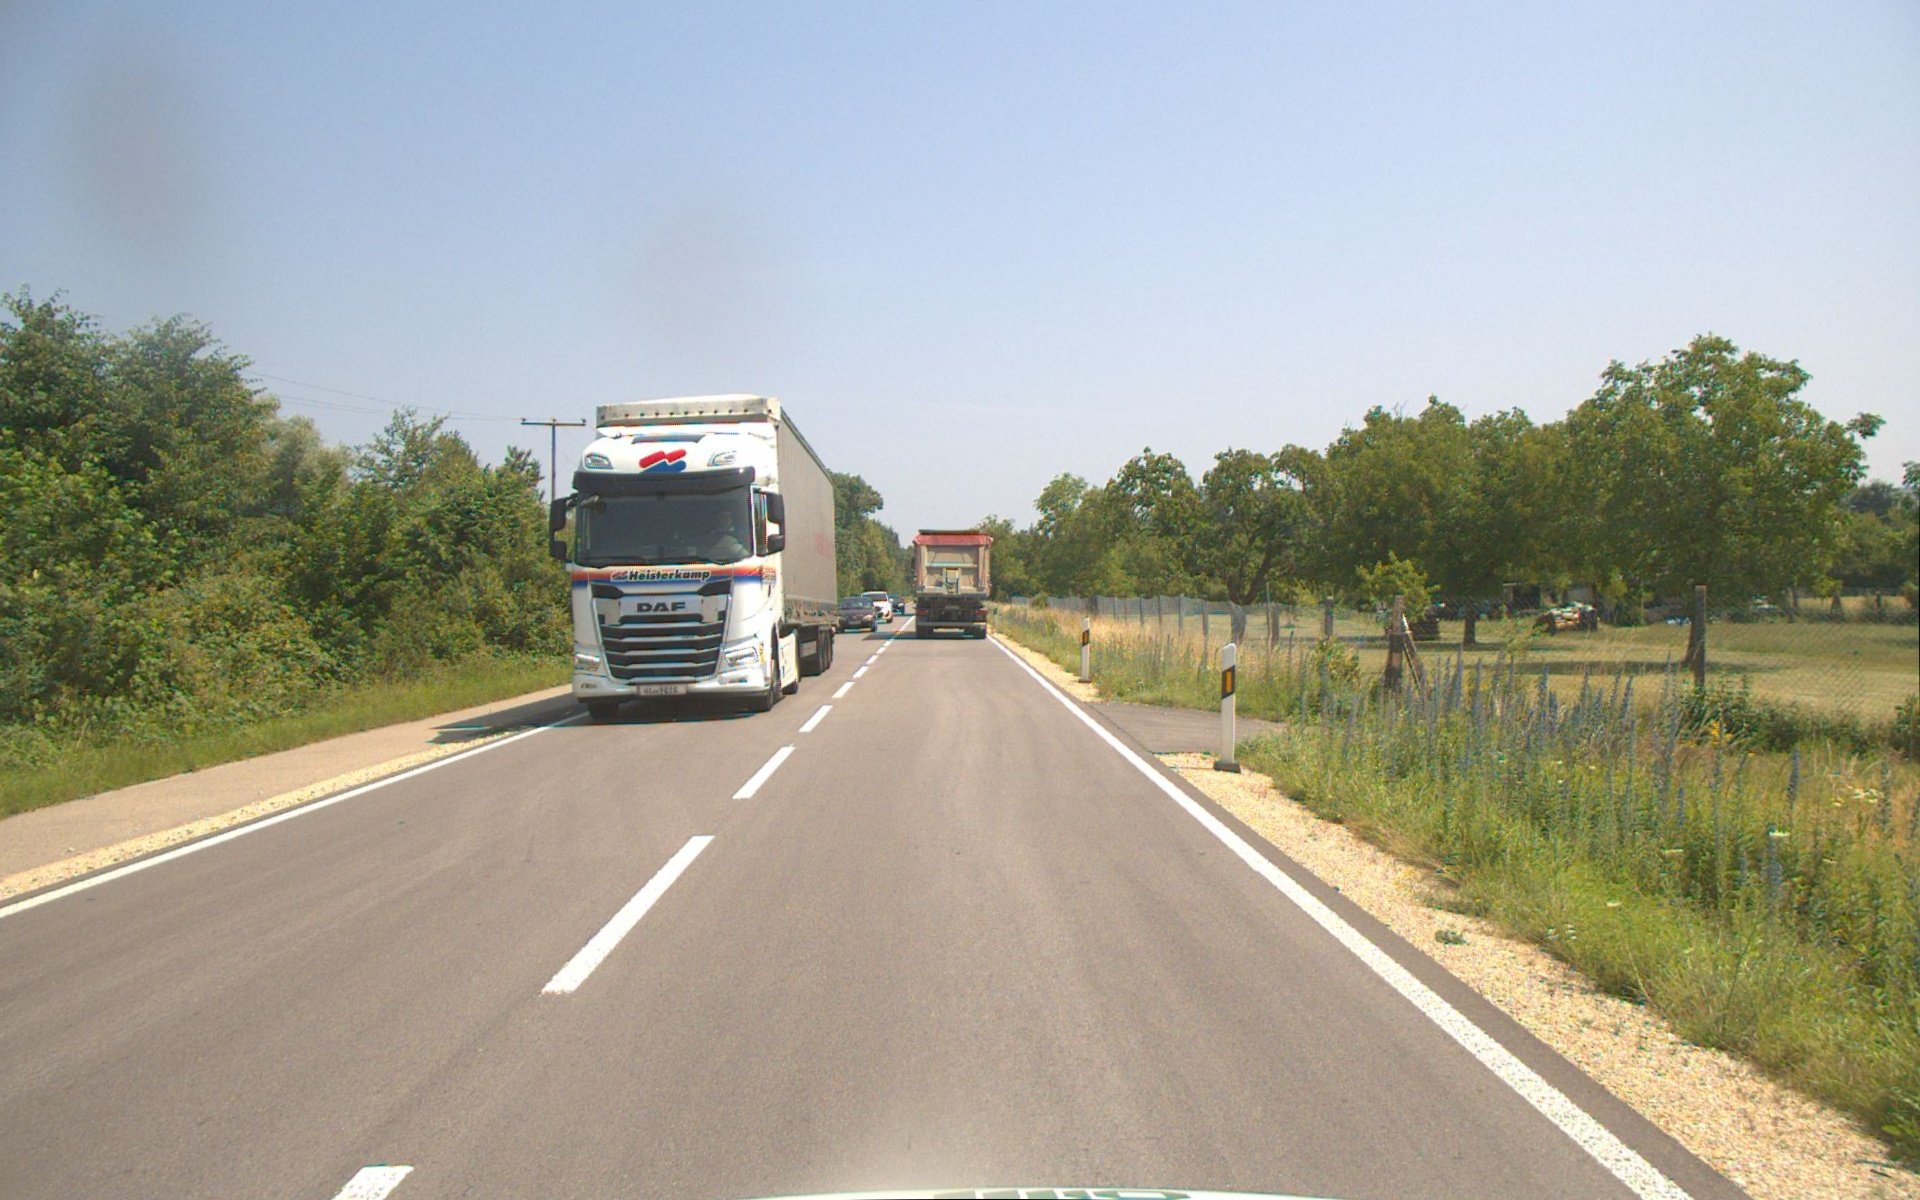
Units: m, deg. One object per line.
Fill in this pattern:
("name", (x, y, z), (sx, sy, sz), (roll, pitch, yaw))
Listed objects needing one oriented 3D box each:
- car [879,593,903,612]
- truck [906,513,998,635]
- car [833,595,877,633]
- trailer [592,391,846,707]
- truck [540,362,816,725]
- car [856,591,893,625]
("car", (-5.298, 0.176, 127.111), (1.723, 1.381, 4.045), (-3, 0, -1))
("truck", (-0.365, -0.855, 60.678), (2.948, 3.942, 12.206), (1, 0, -1))
("car", (-4.288, 0.541, 68.008), (1.660, 1.431, 4.044), (-3, 0, -2))
("trailer", (-3.867, -0.771, 30.197), (2.662, 4.340, 13.807), (-2, 0, -1))
("truck", (-3.775, -0.719, 23.943), (2.662, 4.340, 7.388), (-2, 0, -1))
("car", (-4.501, 0.402, 87.600), (1.723, 1.634, 4.480), (-3, 0, -1))
